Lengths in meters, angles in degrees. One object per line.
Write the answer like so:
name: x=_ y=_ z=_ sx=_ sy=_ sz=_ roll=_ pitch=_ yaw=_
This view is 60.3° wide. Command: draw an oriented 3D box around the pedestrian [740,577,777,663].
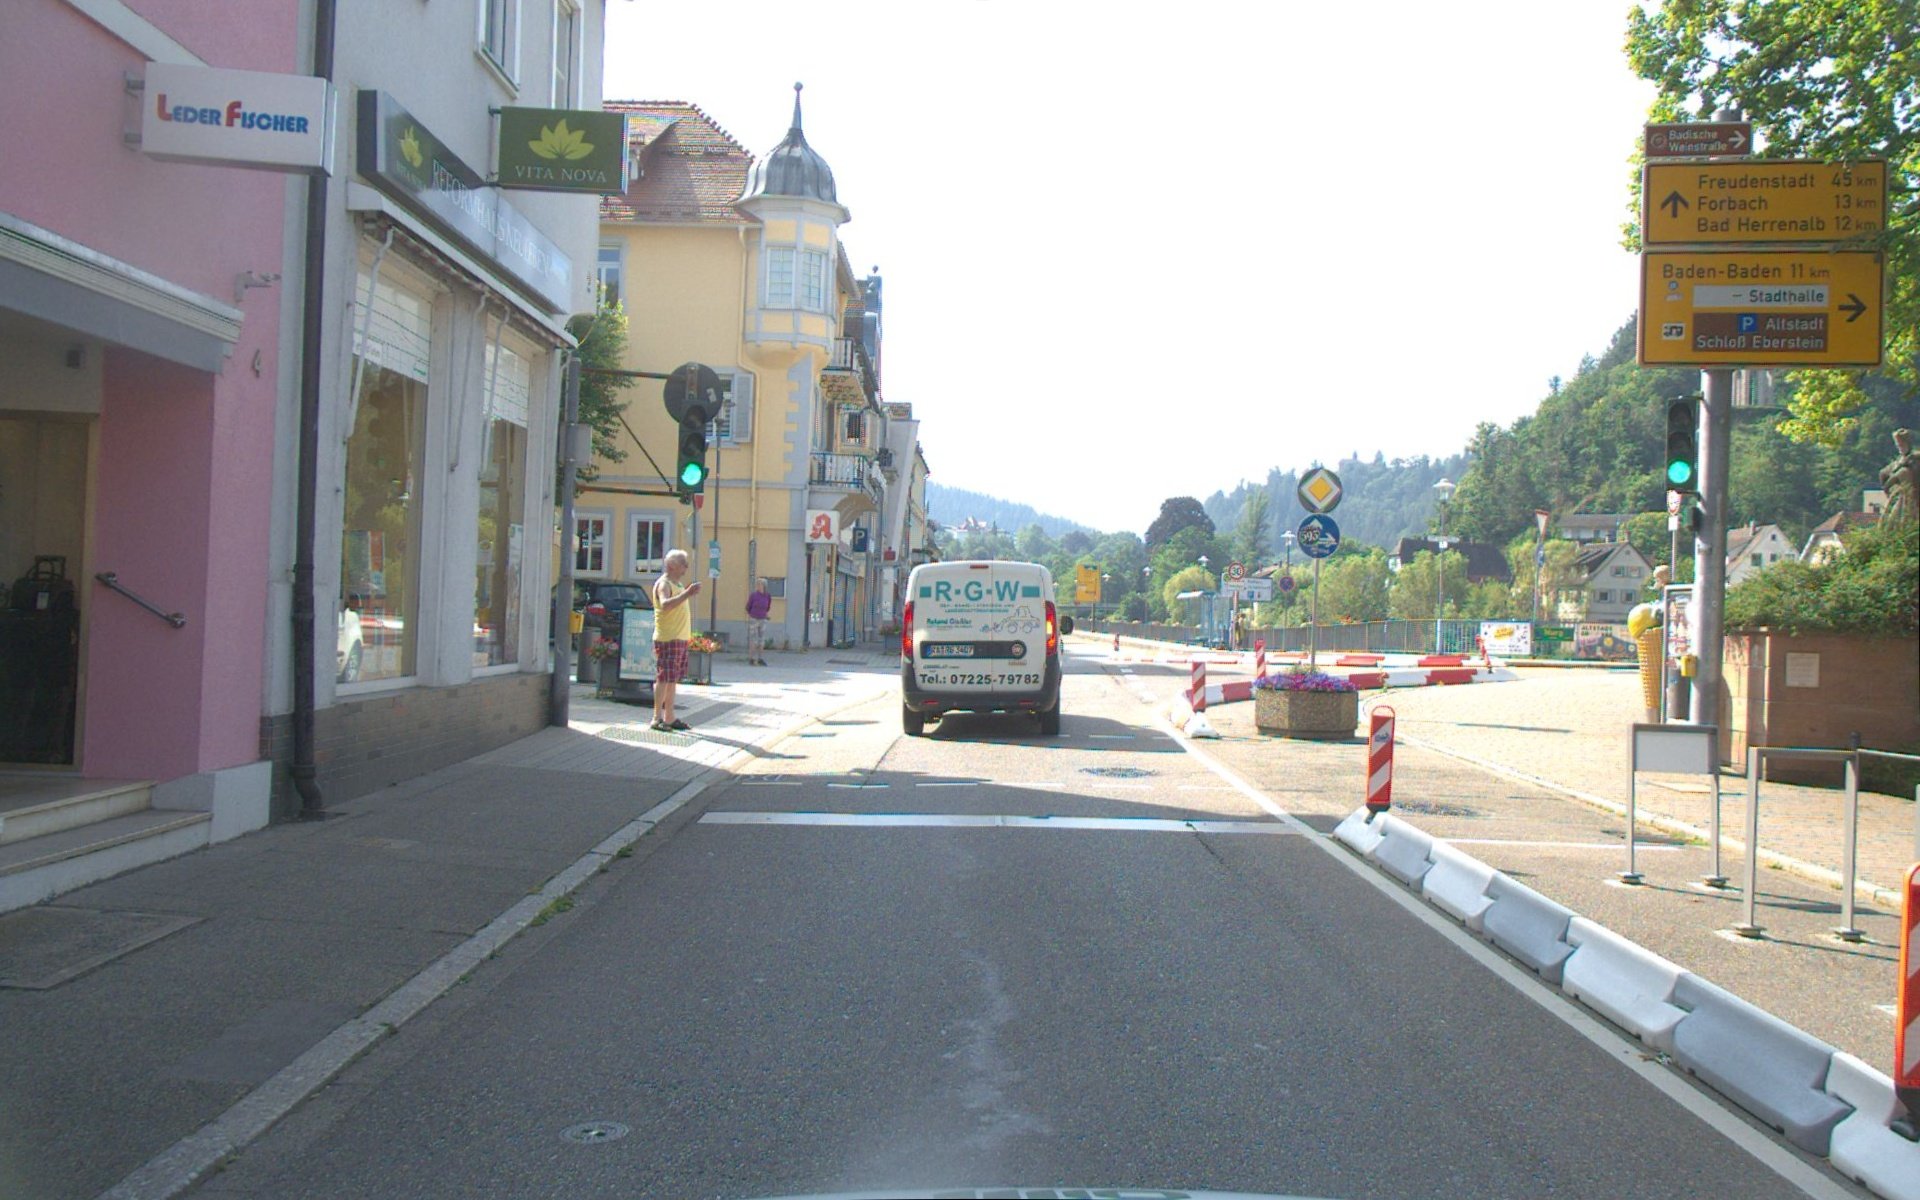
pedestrian: x=-4.201 y=0.415 z=34.459 sx=0.664 sy=1.744 sz=0.617 roll=2 pitch=0 yaw=-4

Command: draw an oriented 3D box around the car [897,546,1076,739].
car: x=0.416 y=0.432 z=19.438 sx=1.806 sy=1.939 sz=4.317 roll=2 pitch=0 yaw=4

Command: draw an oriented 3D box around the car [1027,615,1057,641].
car: x=5.748 y=1.957 z=116.154 sx=1.952 sy=1.691 sz=4.000 roll=2 pitch=0 yaw=1

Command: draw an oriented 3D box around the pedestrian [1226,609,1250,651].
pedestrian: x=11.720 y=1.257 z=69.768 sx=0.848 sy=1.736 sz=0.777 roll=2 pitch=-1 yaw=2

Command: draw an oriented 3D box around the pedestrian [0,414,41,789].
pedestrian: x=-4.833 y=0.000 z=7.874 sx=0.707 sy=1.752 sz=0.666 roll=1 pitch=0 yaw=-35

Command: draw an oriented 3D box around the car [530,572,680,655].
car: x=-7.834 y=0.272 z=36.248 sx=1.899 sy=1.569 sz=3.915 roll=3 pitch=1 yaw=-33

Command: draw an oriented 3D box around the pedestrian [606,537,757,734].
pedestrian: x=-2.819 y=0.358 z=16.749 sx=1.003 sy=1.846 sz=0.903 roll=6 pitch=-1 yaw=40

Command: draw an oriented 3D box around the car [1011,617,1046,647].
car: x=4.163 y=1.901 z=100.666 sx=1.952 sy=1.691 sz=4.000 roll=2 pitch=0 yaw=1

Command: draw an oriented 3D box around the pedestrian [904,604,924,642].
pedestrian: x=-2.097 y=1.046 z=75.757 sx=0.675 sy=1.726 sz=0.659 roll=0 pitch=-1 yaw=28

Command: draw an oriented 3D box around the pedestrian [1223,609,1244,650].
pedestrian: x=11.649 y=1.262 z=70.433 sx=0.773 sy=1.736 sz=0.492 roll=2 pitch=-1 yaw=2

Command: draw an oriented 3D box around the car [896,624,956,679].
car: x=-1.038 y=1.587 z=51.859 sx=1.809 sy=1.596 sz=3.567 roll=1 pitch=-1 yaw=-1
